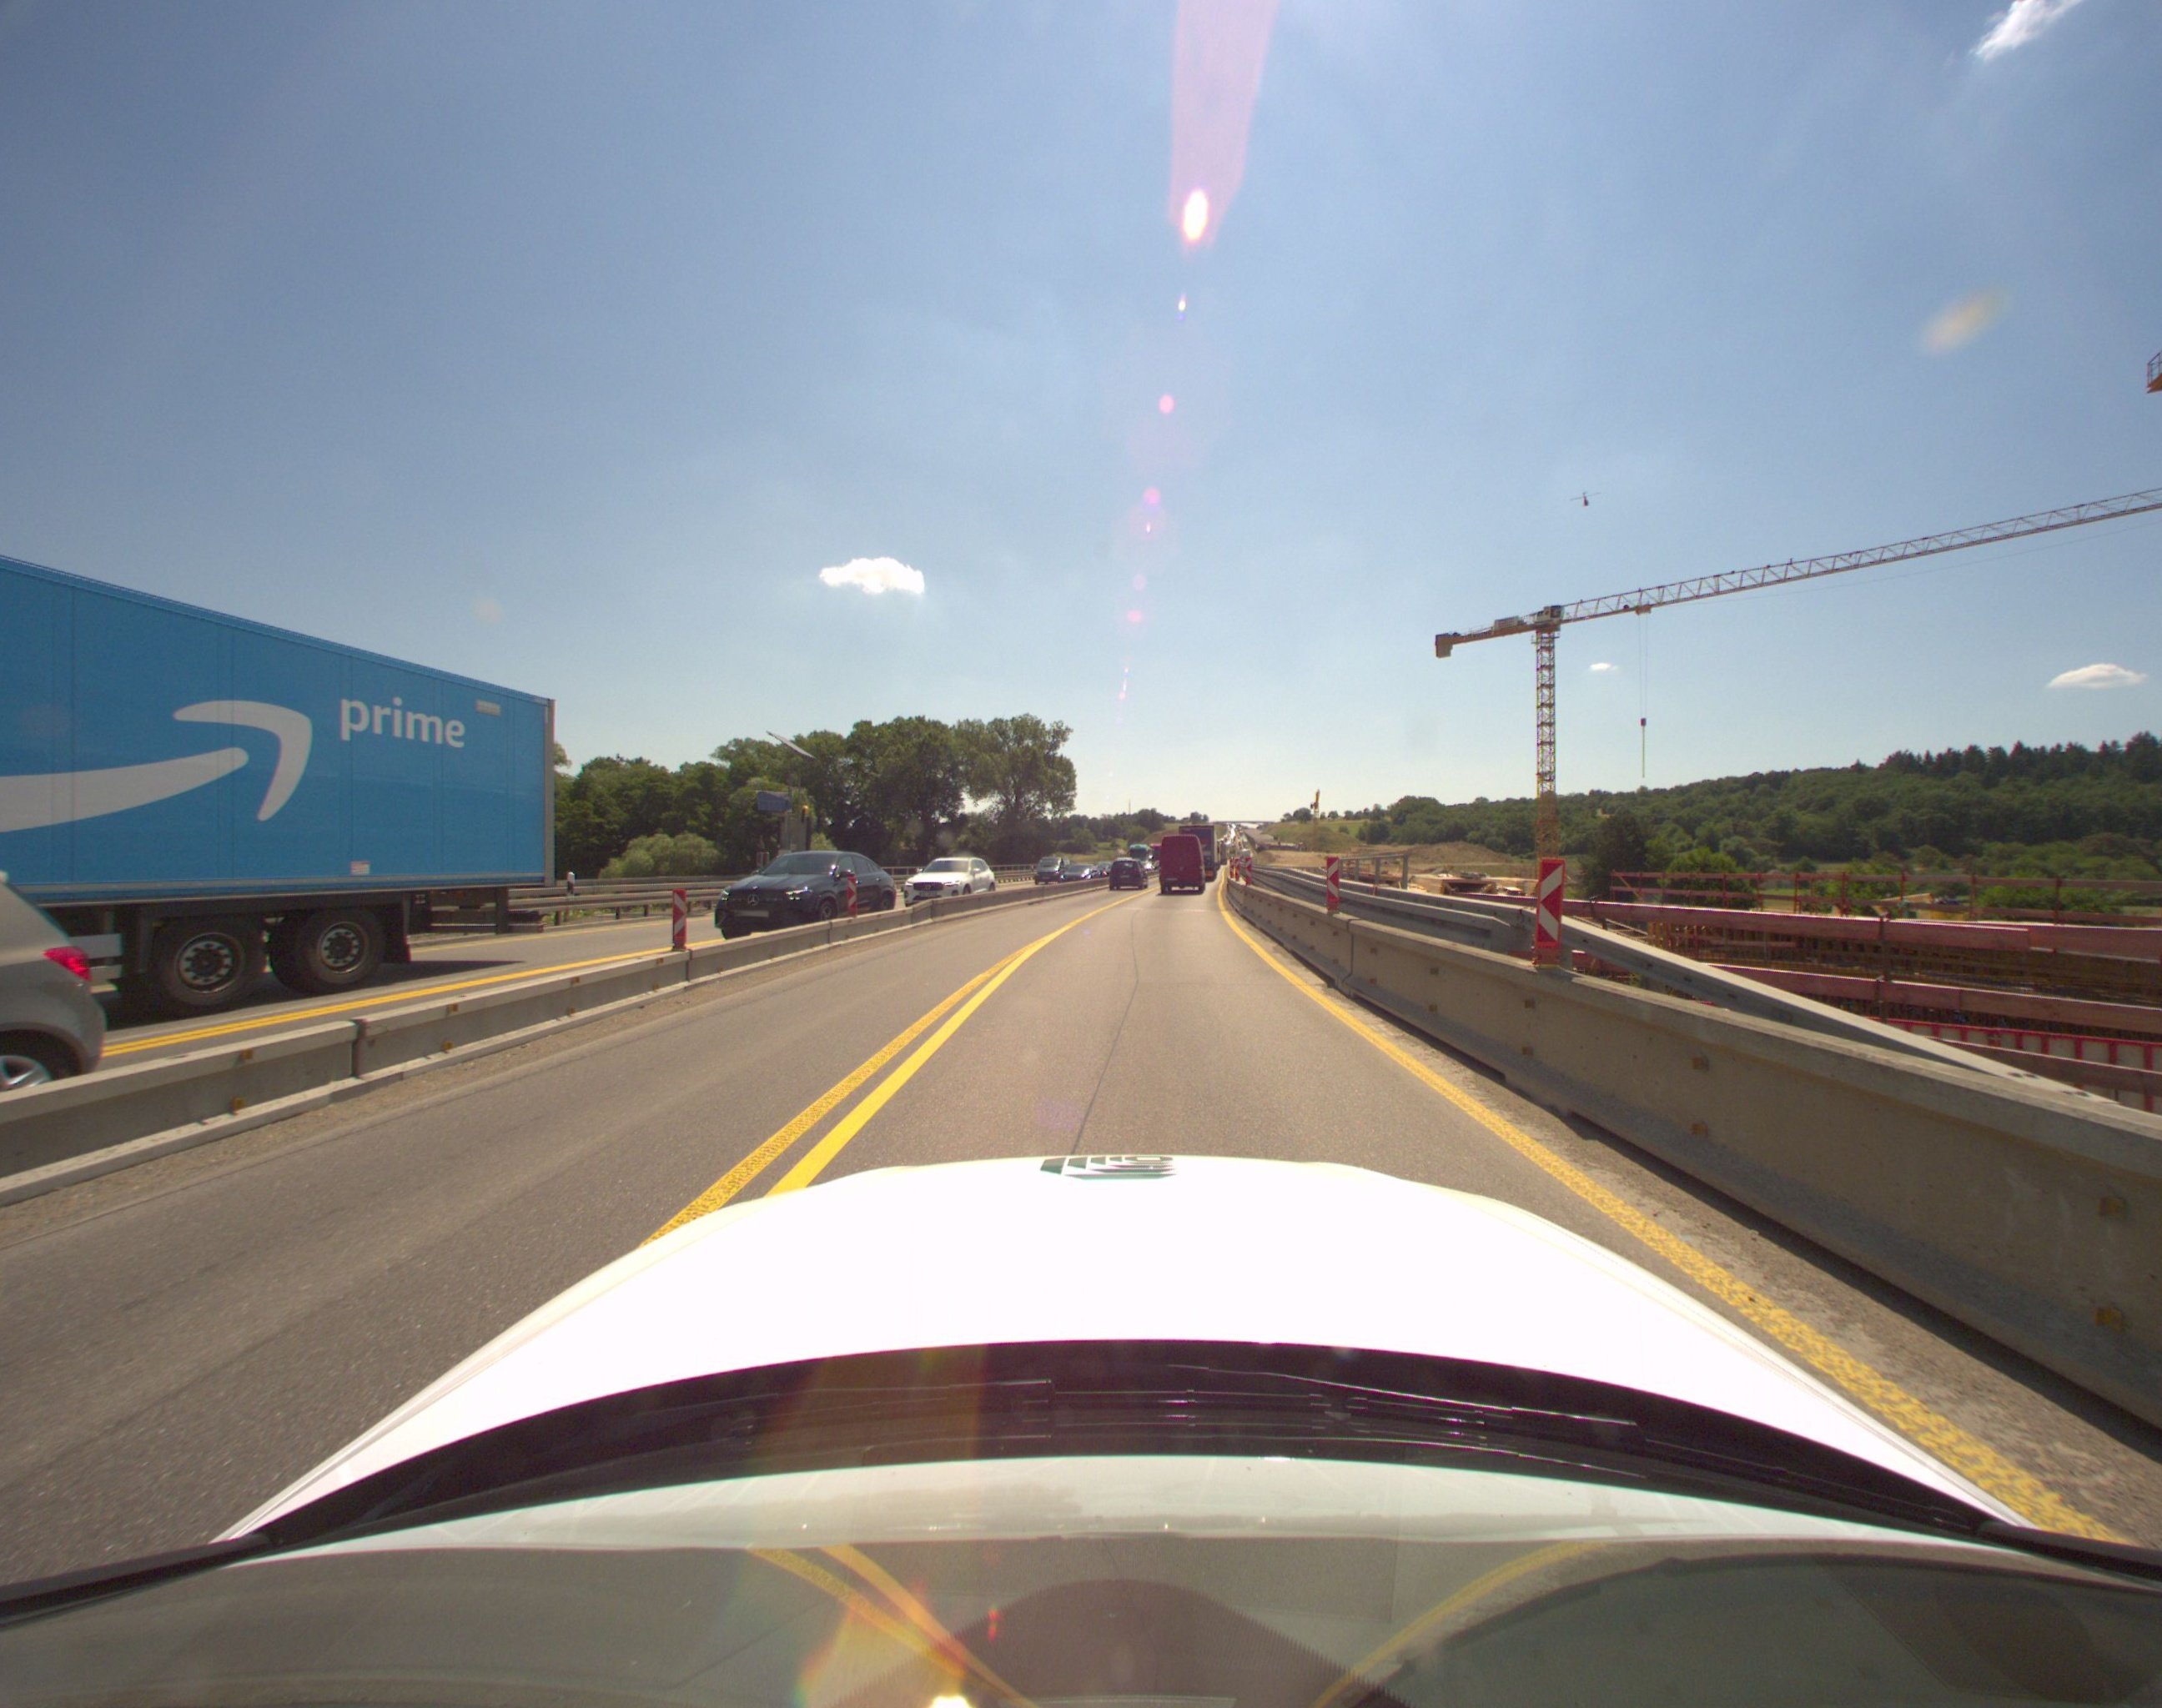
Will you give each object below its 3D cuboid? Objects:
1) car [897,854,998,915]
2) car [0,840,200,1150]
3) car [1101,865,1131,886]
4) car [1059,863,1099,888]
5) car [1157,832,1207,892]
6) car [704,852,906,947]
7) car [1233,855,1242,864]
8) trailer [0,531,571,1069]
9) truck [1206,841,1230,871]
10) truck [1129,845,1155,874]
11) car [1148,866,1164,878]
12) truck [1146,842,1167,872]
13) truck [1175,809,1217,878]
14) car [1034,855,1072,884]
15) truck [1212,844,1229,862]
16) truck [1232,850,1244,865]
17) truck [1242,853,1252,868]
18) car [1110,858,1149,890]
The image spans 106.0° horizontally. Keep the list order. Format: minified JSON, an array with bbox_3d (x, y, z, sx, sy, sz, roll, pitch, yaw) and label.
[{"bbox_3d":[-4.141,0.888,26.031,1.809,1.647,4.583,0,1,9],"label":"car"},{"bbox_3d":[-6.512,0.736,2.950,1.813,1.585,4.305,-1,0,3],"label":"car"},{"bbox_3d":[2.709,1.615,62.715,1.746,1.496,4.451,0,-1,9],"label":"car"},{"bbox_3d":[-0.066,1.229,47.655,1.659,1.365,4.451,0,-1,9],"label":"car"},{"bbox_3d":[4.755,0.468,38.472,2.138,2.611,5.448,1,-2,7],"label":"car"},{"bbox_3d":[-5.357,0.779,16.606,1.870,1.647,4.727,0,0,9],"label":"car"},{"bbox_3d":[29.819,1.107,154.836,1.608,1.700,3.900,0,-1,10],"label":"car"},{"bbox_3d":[-9.980,-0.453,6.278,2.635,4.293,13.325,1,-1,5],"label":"trailer"},{"bbox_3d":[18.846,0.336,111.656,3.162,3.990,6.760,0,-1,10],"label":"truck"},{"bbox_3d":[8.985,0.805,119.208,2.792,3.964,12.163,0,-1,9],"label":"truck"},{"bbox_3d":[9.840,2.311,107.227,1.810,1.496,4.144,0,-1,9],"label":"car"},{"bbox_3d":[13.006,0.491,140.186,2.792,4.939,12.163,0,-1,9],"label":"truck"},{"bbox_3d":[8.770,-0.708,62.127,2.928,4.946,6.756,0,-1,8],"label":"truck"},{"bbox_3d":[-1.942,1.066,58.049,1.810,1.943,5.076,0,-1,9],"label":"car"},{"bbox_3d":[28.582,-0.166,166.960,3.164,2.978,8.920,-1,-4,10],"label":"truck"},{"bbox_3d":[33.713,0.696,174.517,2.278,3.196,6.498,-1,0,9],"label":"truck"},{"bbox_3d":[44.799,1.717,219.633,2.277,3.740,6.497,-1,-4,10],"label":"truck"},{"bbox_3d":[2.679,1.032,44.416,1.724,1.635,4.399,0,0,8],"label":"car"}]
